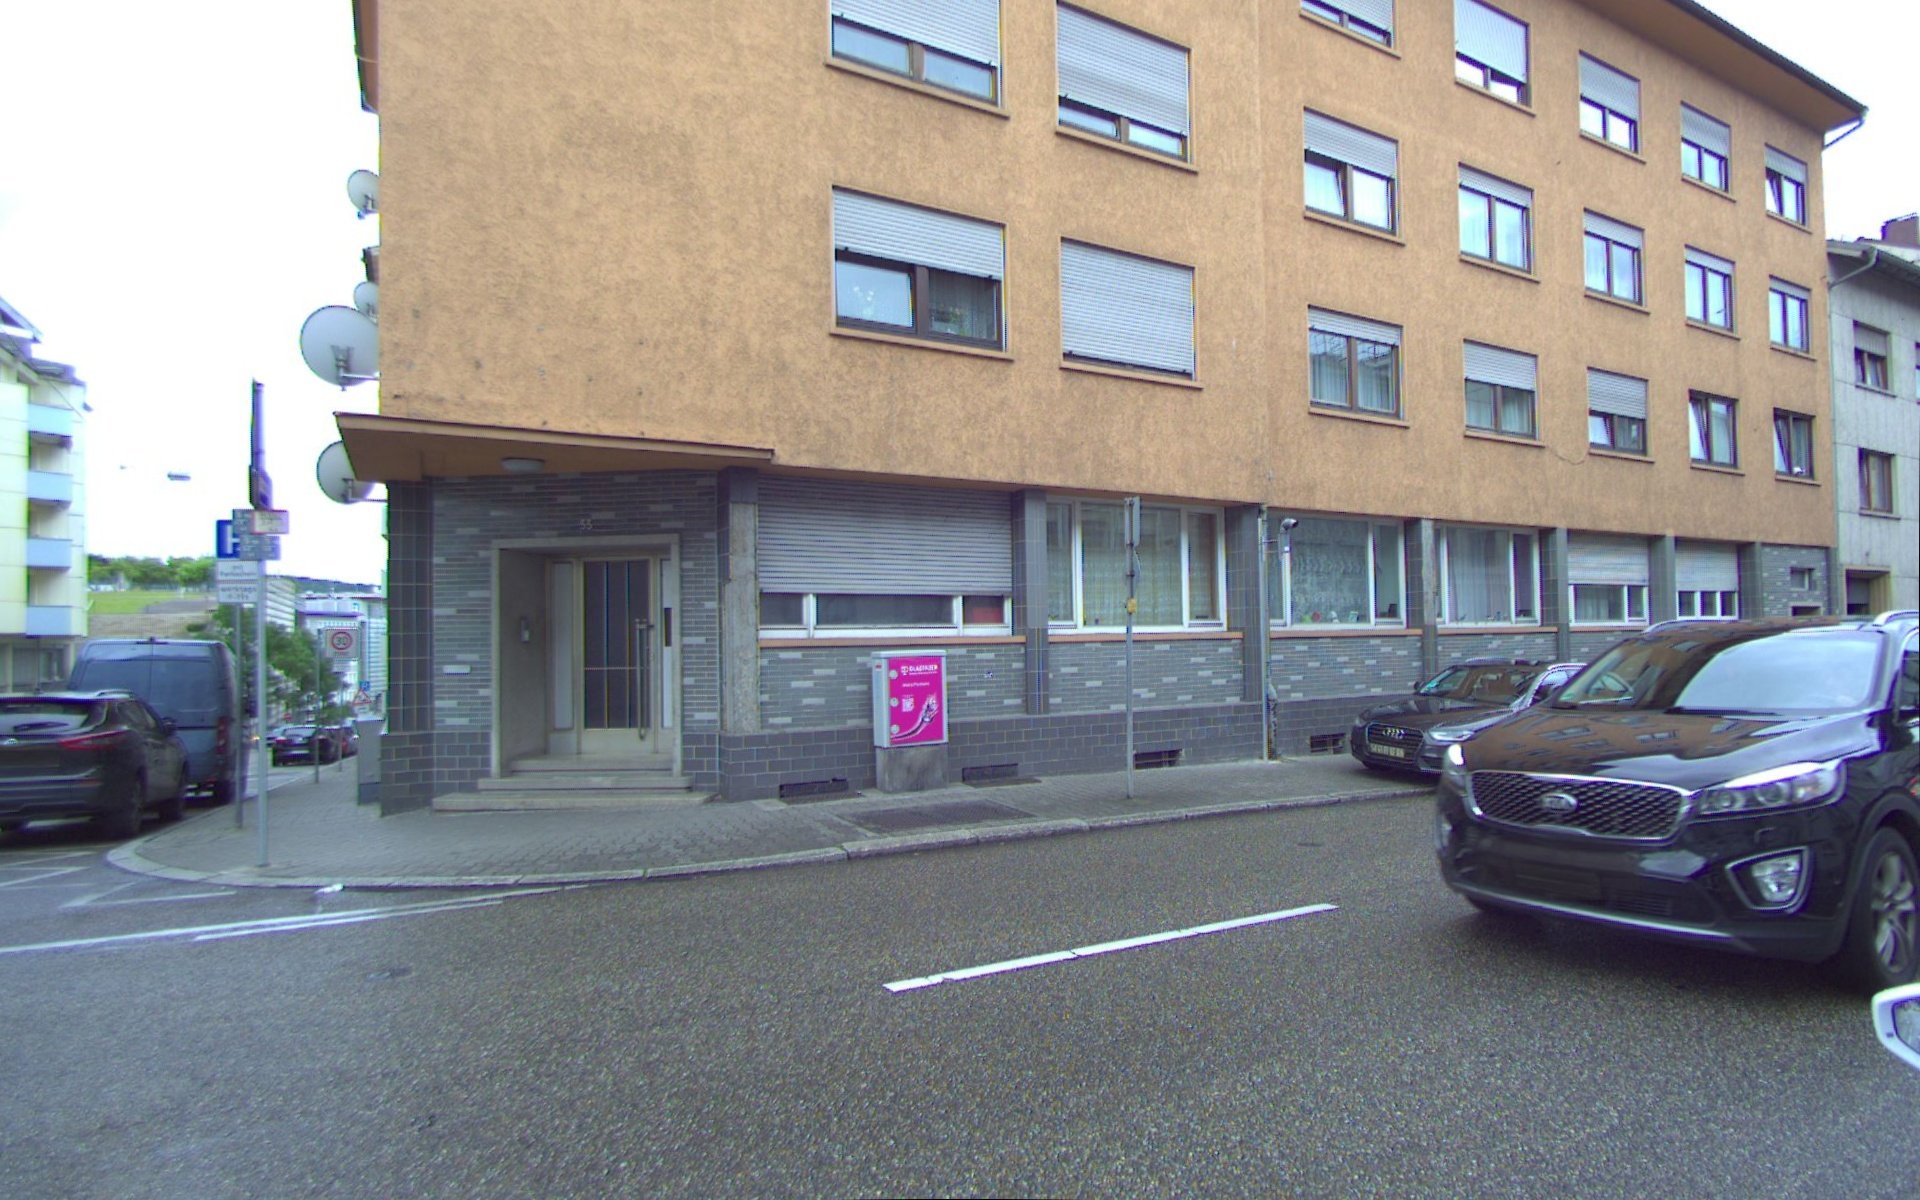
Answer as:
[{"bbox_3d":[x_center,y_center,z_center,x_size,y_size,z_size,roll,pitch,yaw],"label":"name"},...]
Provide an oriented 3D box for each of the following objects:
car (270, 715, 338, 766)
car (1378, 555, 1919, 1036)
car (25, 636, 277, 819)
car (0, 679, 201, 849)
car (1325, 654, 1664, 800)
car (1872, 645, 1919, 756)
[{"bbox_3d":[-24.370,5.211,37.409,1.796,1.696,4.026,1,-7,-29],"label":"car"},{"bbox_3d":[4.580,0.823,5.623,4.423,1.749,1.828,1,-5,-31],"label":"car"},{"bbox_3d":[-13.195,2.090,16.893,2.223,2.492,6.017,1,-7,-29],"label":"car"},{"bbox_3d":[-10.148,1.829,11.413,1.820,1.596,4.127,1,-8,-29],"label":"car"},{"bbox_3d":[6.910,1.489,12.865,4.475,1.457,1.786,1,0,-31],"label":"car"},{"bbox_3d":[15.892,1.480,15.404,4.271,1.605,1.787,2,-4,-34],"label":"car"}]
